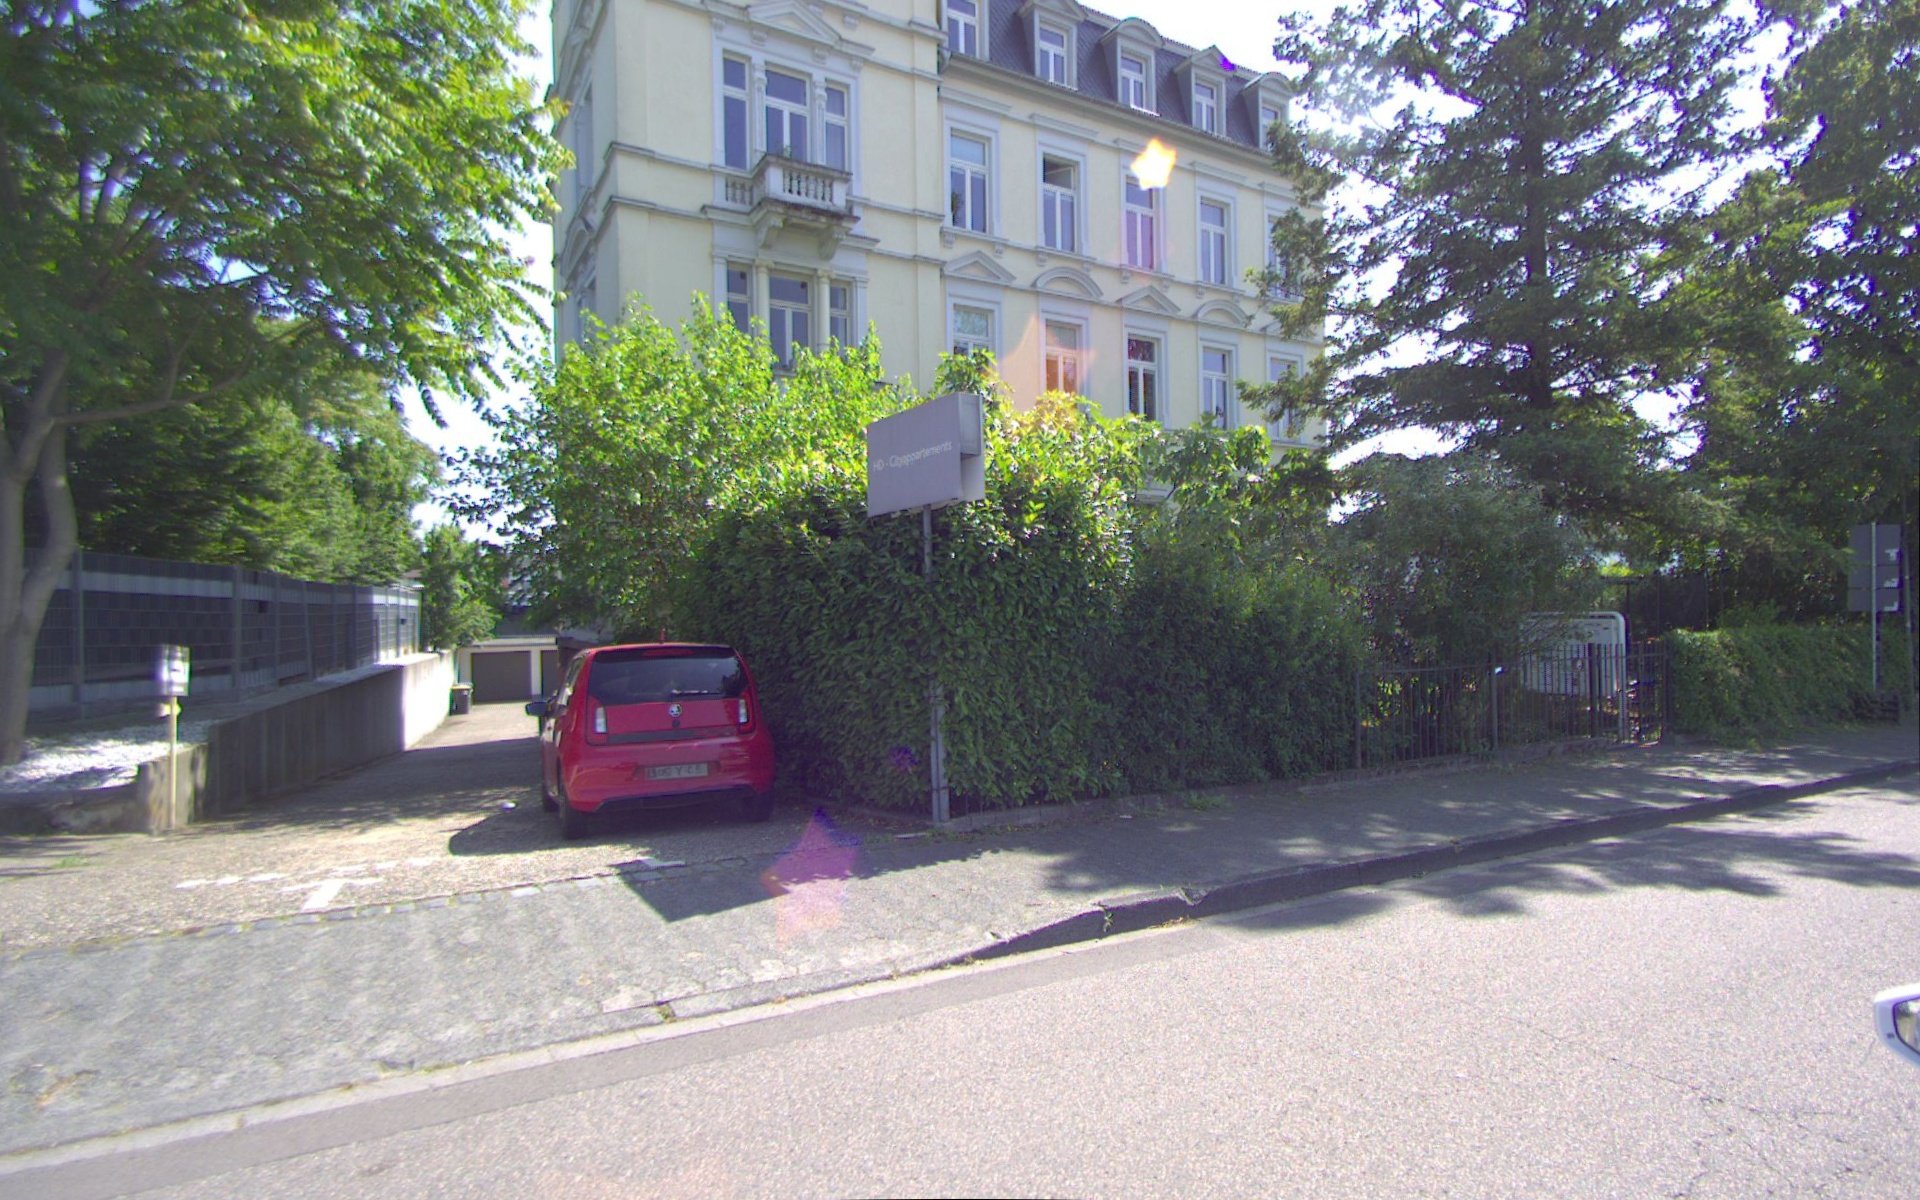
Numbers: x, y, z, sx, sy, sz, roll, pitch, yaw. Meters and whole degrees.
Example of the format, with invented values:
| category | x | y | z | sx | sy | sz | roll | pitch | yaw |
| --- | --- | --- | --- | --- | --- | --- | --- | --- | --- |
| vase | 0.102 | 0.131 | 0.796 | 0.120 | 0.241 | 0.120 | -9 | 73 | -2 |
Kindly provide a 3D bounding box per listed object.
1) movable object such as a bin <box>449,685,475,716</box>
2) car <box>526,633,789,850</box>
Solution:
| category | x | y | z | sx | sy | sz | roll | pitch | yaw |
| --- | --- | --- | --- | --- | --- | --- | --- | --- | --- |
| movable object such as a bin | -19.400 | 3.909 | 39.107 | 0.868 | 1.133 | 0.691 | 1 | -3 | -31 |
| car | -2.820 | 1.150 | 8.860 | 1.629 | 1.484 | 3.401 | 1 | -6 | -27 |
